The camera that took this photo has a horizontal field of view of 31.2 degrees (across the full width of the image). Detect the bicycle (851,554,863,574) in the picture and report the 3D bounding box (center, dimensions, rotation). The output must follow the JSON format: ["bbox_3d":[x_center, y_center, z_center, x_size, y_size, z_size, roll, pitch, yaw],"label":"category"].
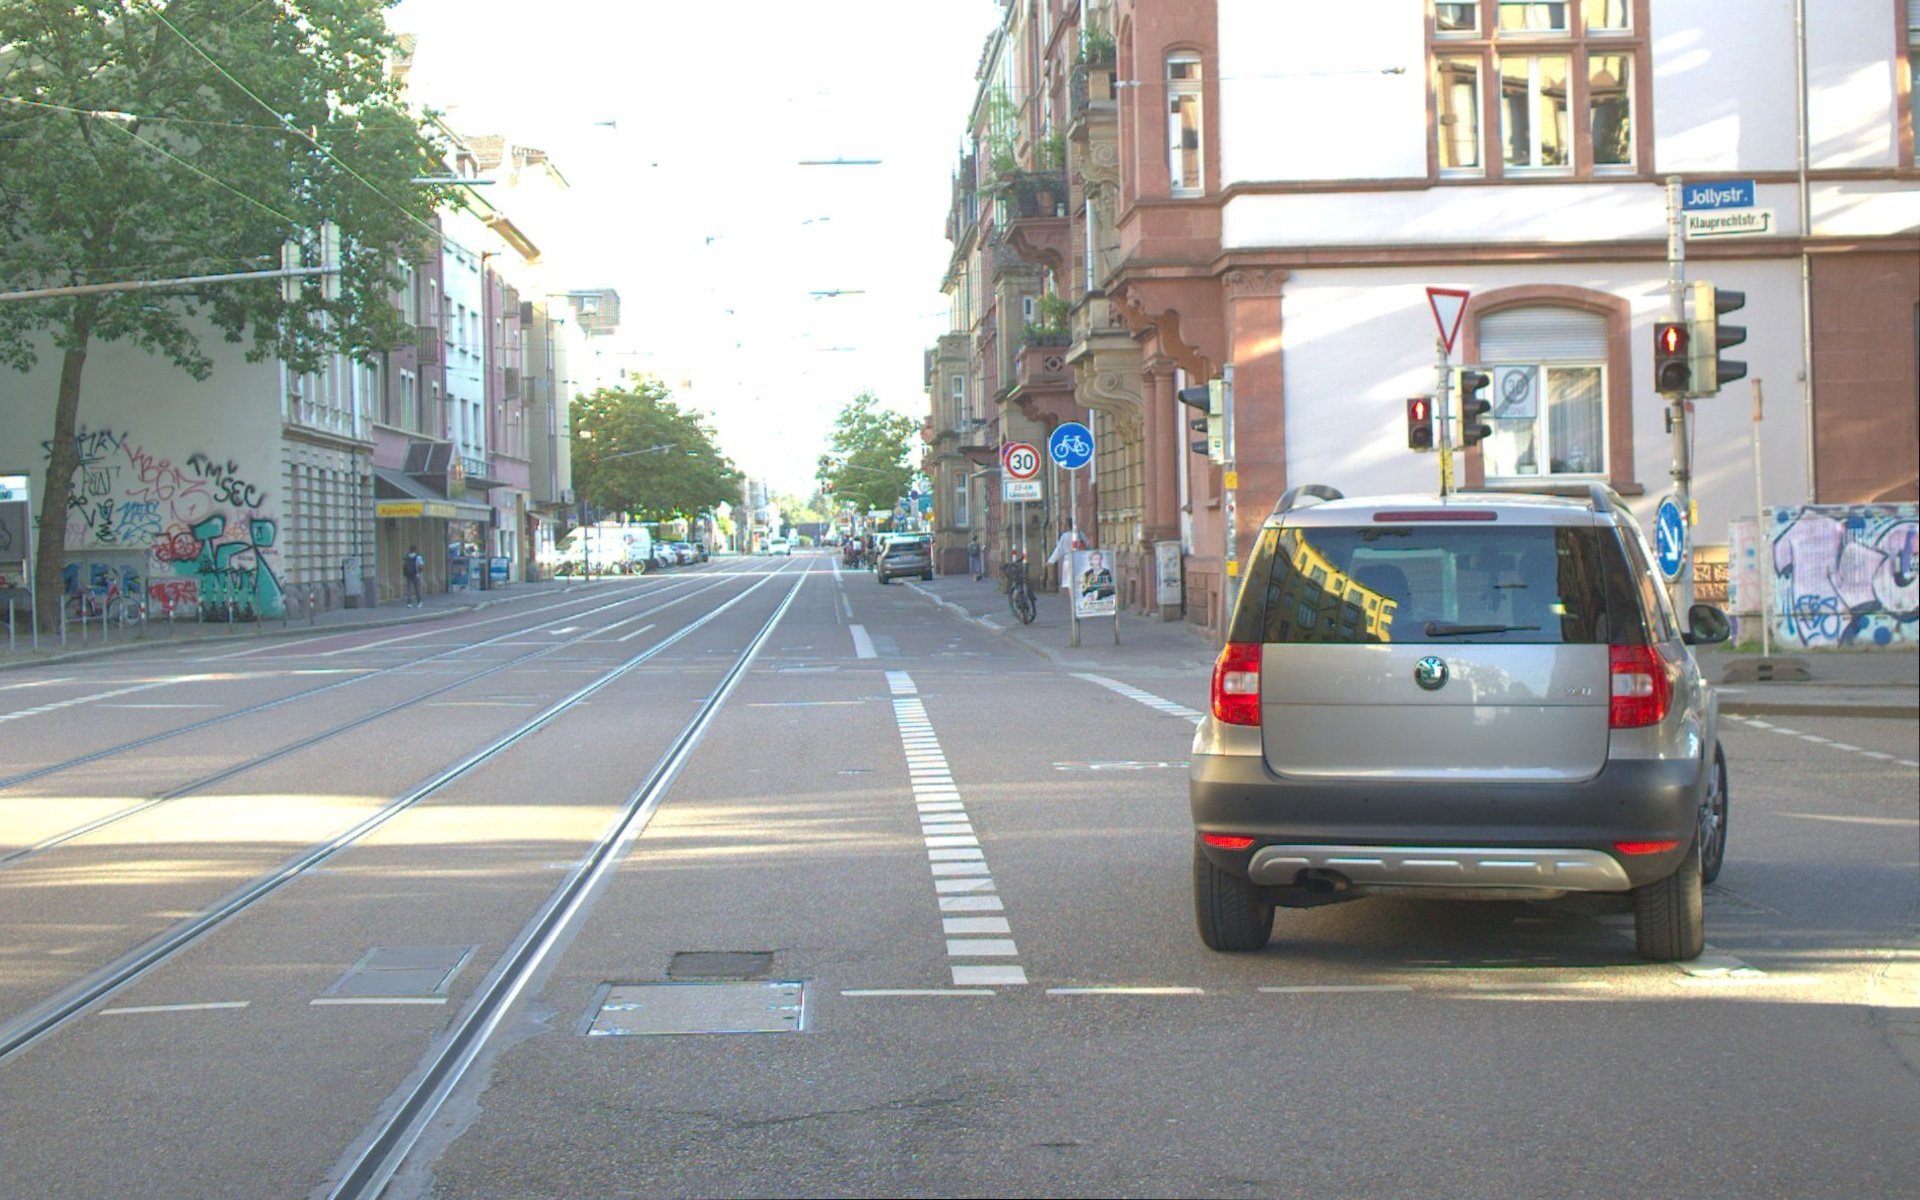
[{"bbox_3d":[-5.558,-1.941,185.353,0.575,1.026,1.895,-1,1,-1],"label":"bicycle"}]

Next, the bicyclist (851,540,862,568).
[{"bbox_3d":[-5.576,-2.495,185.338,0.575,1.489,0.795,-1,1,-1],"label":"bicyclist"}]

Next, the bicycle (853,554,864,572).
[{"bbox_3d":[-5.832,-2.132,197.453,0.575,1.026,1.895,-1,1,-1],"label":"bicycle"}]

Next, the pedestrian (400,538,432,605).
[{"bbox_3d":[-14.081,-0.741,88.940,0.701,1.722,0.648,-1,1,-2],"label":"pedestrian"}]

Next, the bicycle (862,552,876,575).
[{"bbox_3d":[-4.207,-1.692,158.893,0.575,1.026,1.895,-1,1,-1],"label":"bicycle"}]

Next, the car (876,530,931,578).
[{"bbox_3d":[-2.073,-1.695,125.694,1.950,1.678,4.000,-1,1,-1],"label":"car"}]

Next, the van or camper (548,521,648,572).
[{"bbox_3d":[-18.438,-2.724,175.195,4.635,2.554,2.000,-1,1,-33],"label":"van or camper"}]

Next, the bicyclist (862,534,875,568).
[{"bbox_3d":[-4.220,-2.248,158.879,0.575,1.548,0.595,-1,1,-1],"label":"bicyclist"}]

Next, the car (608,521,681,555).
[{"bbox_3d":[-19.359,-3.806,210.828,3.986,2.007,2.000,-2,1,-26],"label":"car"}]

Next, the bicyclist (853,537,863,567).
[{"bbox_3d":[-5.854,-2.752,197.432,0.575,1.673,0.795,-1,1,-1],"label":"bicyclist"}]

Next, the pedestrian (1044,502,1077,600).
[{"bbox_3d":[1.839,-0.893,62.769,0.544,1.774,0.504,-1,1,-1],"label":"pedestrian"}]

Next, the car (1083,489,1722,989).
[{"bbox_3d":[1.874,0.413,13.338,1.995,1.612,3.998,1,1,14],"label":"car"}]

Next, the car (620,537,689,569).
[{"bbox_3d":[-19.941,-3.078,224.491,3.986,2.007,2.000,-2,1,-26],"label":"car"}]

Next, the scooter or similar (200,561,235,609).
[{"bbox_3d":[-16.504,-0.342,76.448,0.516,1.042,1.478,-1,1,-4],"label":"scooter or similar"}]

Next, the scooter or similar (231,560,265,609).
[{"bbox_3d":[-15.841,-0.355,76.502,0.516,1.053,1.478,-1,1,-4],"label":"scooter or similar"}]

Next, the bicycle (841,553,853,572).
[{"bbox_3d":[-6.261,-2.056,190.250,0.575,1.026,1.895,-1,1,-1],"label":"bicycle"}]

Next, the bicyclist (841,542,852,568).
[{"bbox_3d":[-6.276,-2.488,190.217,0.575,1.447,0.645,-1,1,-1],"label":"bicyclist"}]

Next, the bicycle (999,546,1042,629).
[{"bbox_3d":[0.986,-0.223,56.400,0.653,1.319,2.177,-1,1,0],"label":"bicycle"}]

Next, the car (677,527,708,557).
[{"bbox_3d":[-18.430,-3.983,236.951,1.993,2.007,4.001,-1,1,-3],"label":"car"}]
